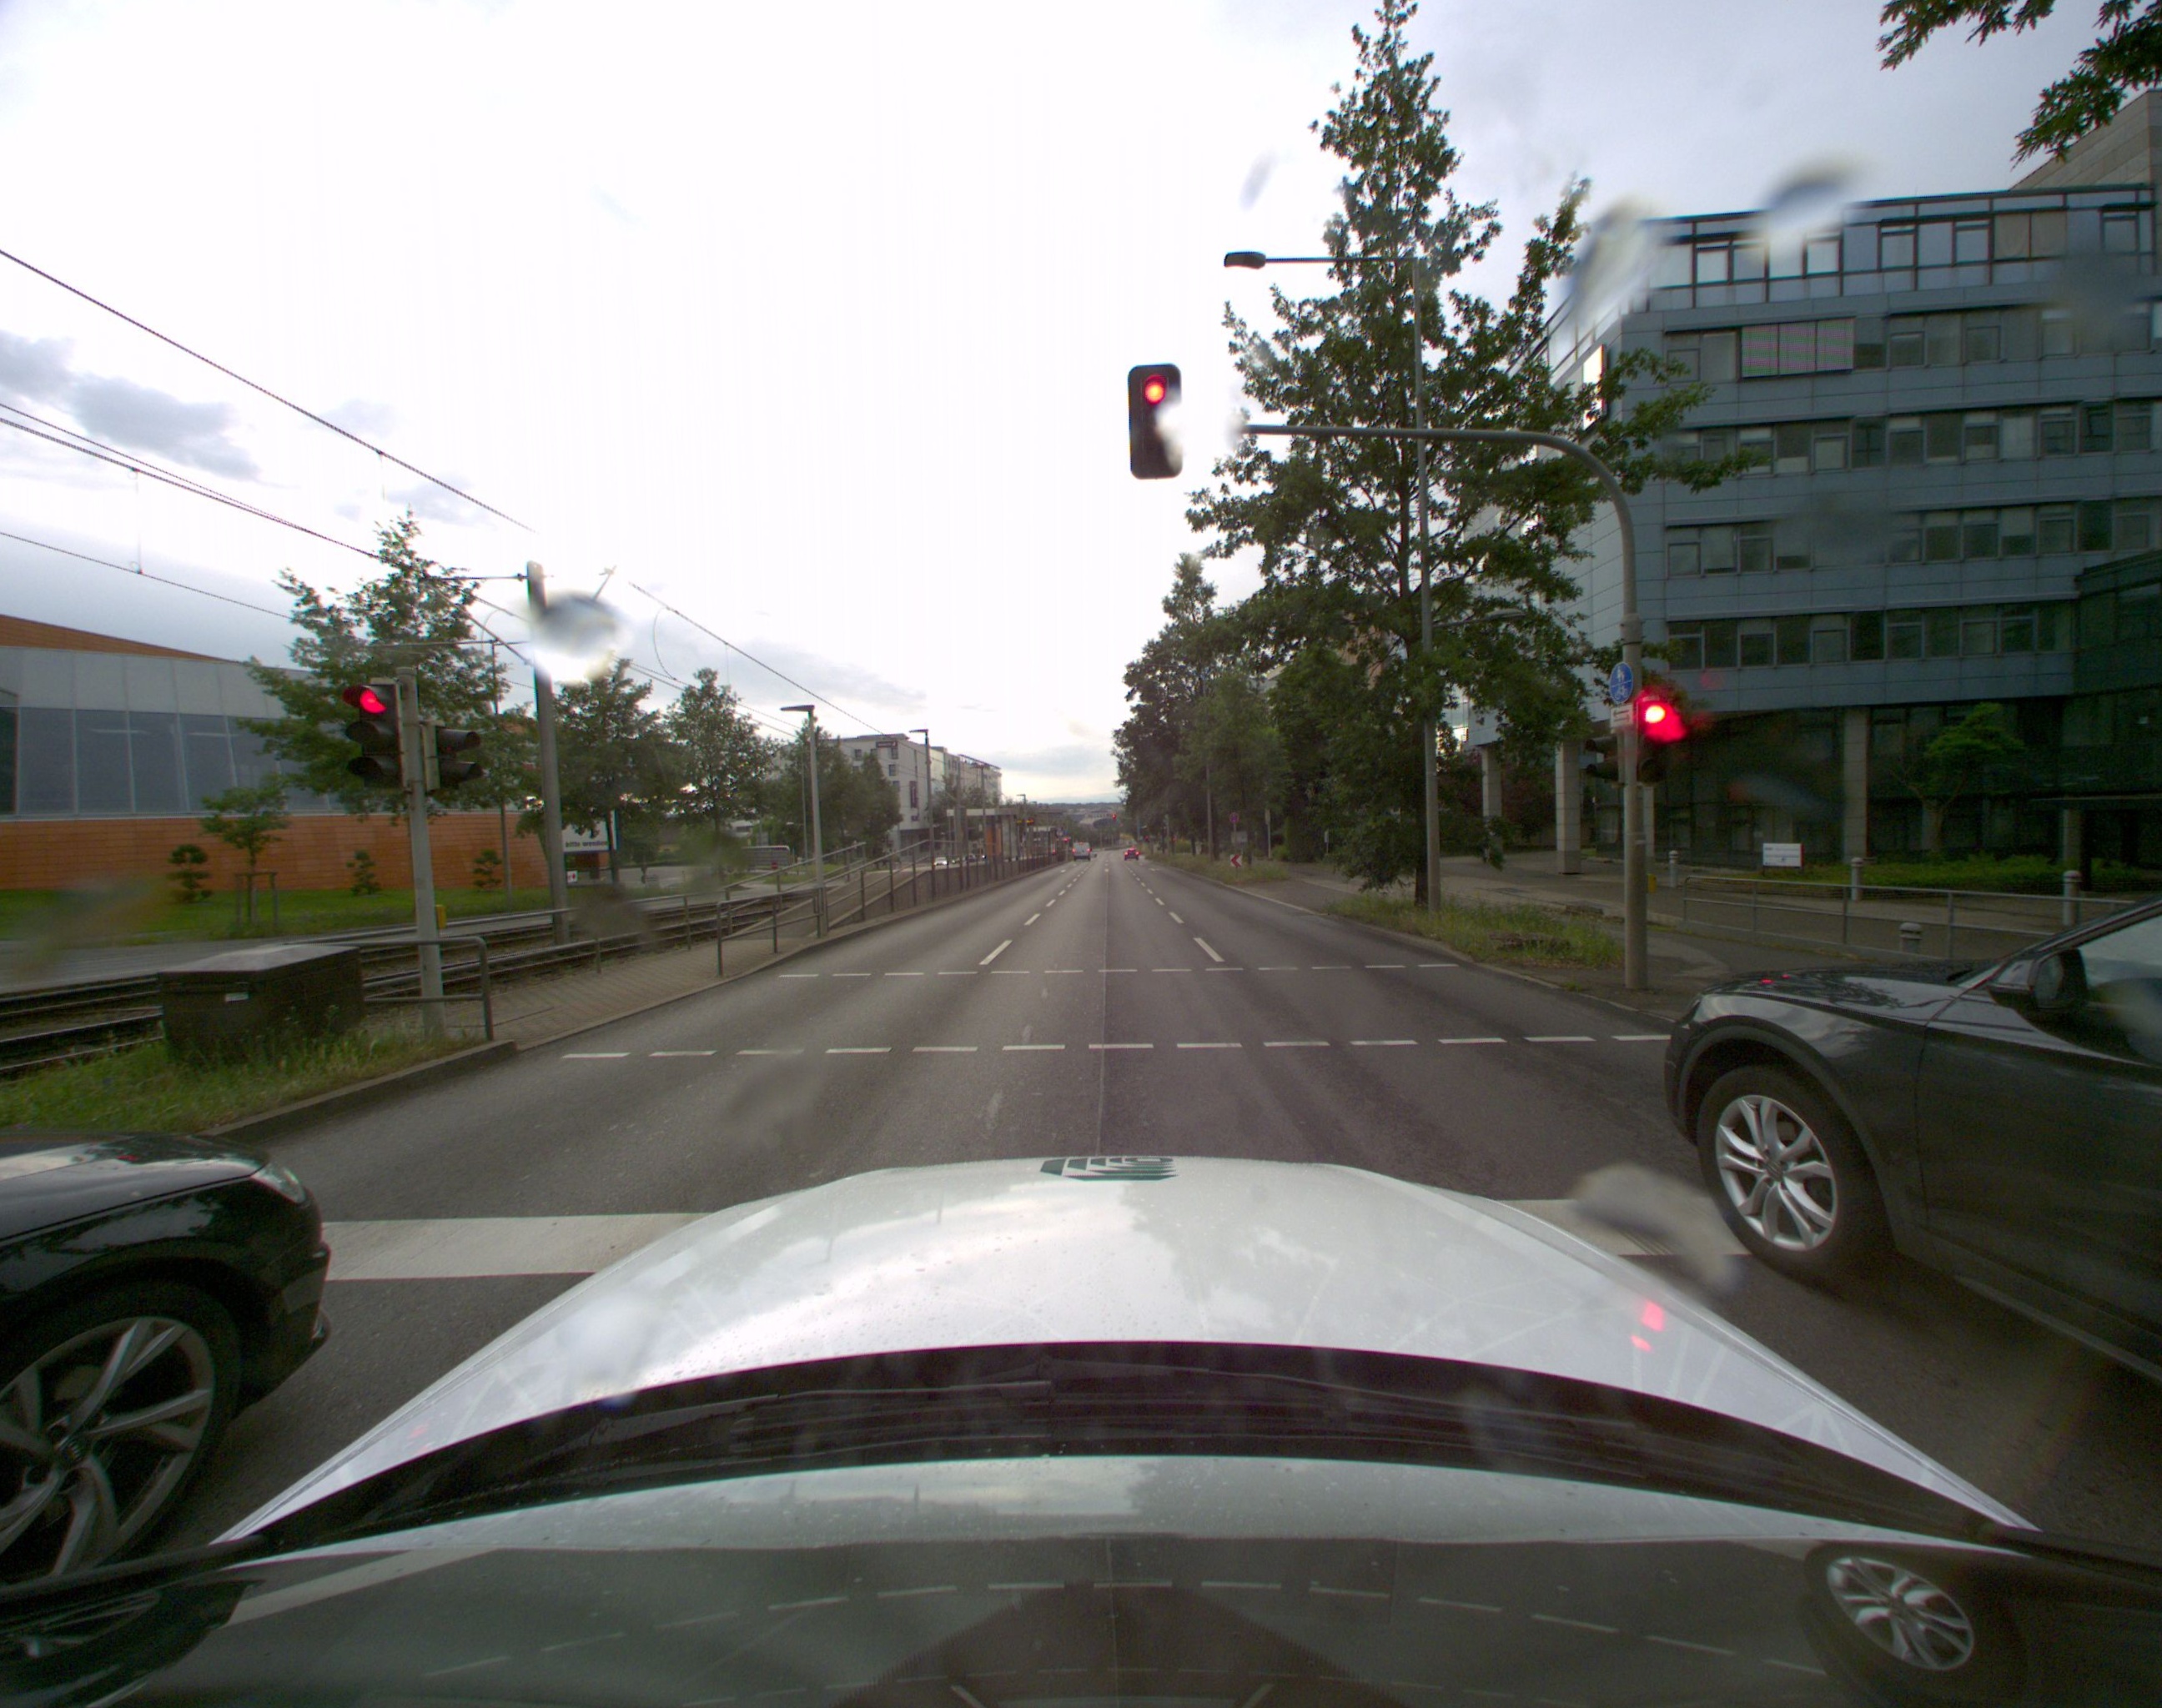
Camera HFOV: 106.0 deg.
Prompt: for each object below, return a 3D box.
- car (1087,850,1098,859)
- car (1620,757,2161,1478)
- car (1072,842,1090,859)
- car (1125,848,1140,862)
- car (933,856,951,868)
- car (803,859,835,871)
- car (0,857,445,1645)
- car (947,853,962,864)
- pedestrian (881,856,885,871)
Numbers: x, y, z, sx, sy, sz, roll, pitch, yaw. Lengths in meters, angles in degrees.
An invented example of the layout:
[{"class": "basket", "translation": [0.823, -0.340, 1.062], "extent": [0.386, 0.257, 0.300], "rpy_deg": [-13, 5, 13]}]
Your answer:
[{"class": "car", "translation": [1.906, 0.014, 133.754], "extent": [1.776, 1.390, 4.001], "rpy_deg": [-2, 0, 1]}, {"class": "car", "translation": [3.300, 0.573, 1.441], "extent": [1.811, 1.612, 4.472], "rpy_deg": [-1, 0, 2]}, {"class": "car", "translation": [-0.018, -0.459, 102.678], "extent": [2.085, 2.053, 4.608], "rpy_deg": [-1, 0, 2]}, {"class": "car", "translation": [6.496, 0.117, 102.831], "extent": [1.767, 1.691, 3.847], "rpy_deg": [-1, 0, 2]}, {"class": "car", "translation": [-18.040, 1.057, 105.682], "extent": [1.646, 1.436, 3.878], "rpy_deg": [-4, 0, -1]}, {"class": "car", "translation": [-31.122, 1.308, 96.665], "extent": [3.341, 1.387, 1.440], "rpy_deg": [-1, 0, 18]}, {"class": "car", "translation": [-2.962, 0.774, 0.307], "extent": [1.774, 1.466, 4.515], "rpy_deg": [-1, 0, 2]}, {"class": "car", "translation": [-17.430, 0.637, 112.430], "extent": [1.562, 1.378, 3.518], "rpy_deg": [-2, 0, 0]}, {"class": "pedestrian", "translation": [-26.551, 1.259, 109.199], "extent": [0.473, 1.920, 0.490], "rpy_deg": [-1, 0, 1]}]
